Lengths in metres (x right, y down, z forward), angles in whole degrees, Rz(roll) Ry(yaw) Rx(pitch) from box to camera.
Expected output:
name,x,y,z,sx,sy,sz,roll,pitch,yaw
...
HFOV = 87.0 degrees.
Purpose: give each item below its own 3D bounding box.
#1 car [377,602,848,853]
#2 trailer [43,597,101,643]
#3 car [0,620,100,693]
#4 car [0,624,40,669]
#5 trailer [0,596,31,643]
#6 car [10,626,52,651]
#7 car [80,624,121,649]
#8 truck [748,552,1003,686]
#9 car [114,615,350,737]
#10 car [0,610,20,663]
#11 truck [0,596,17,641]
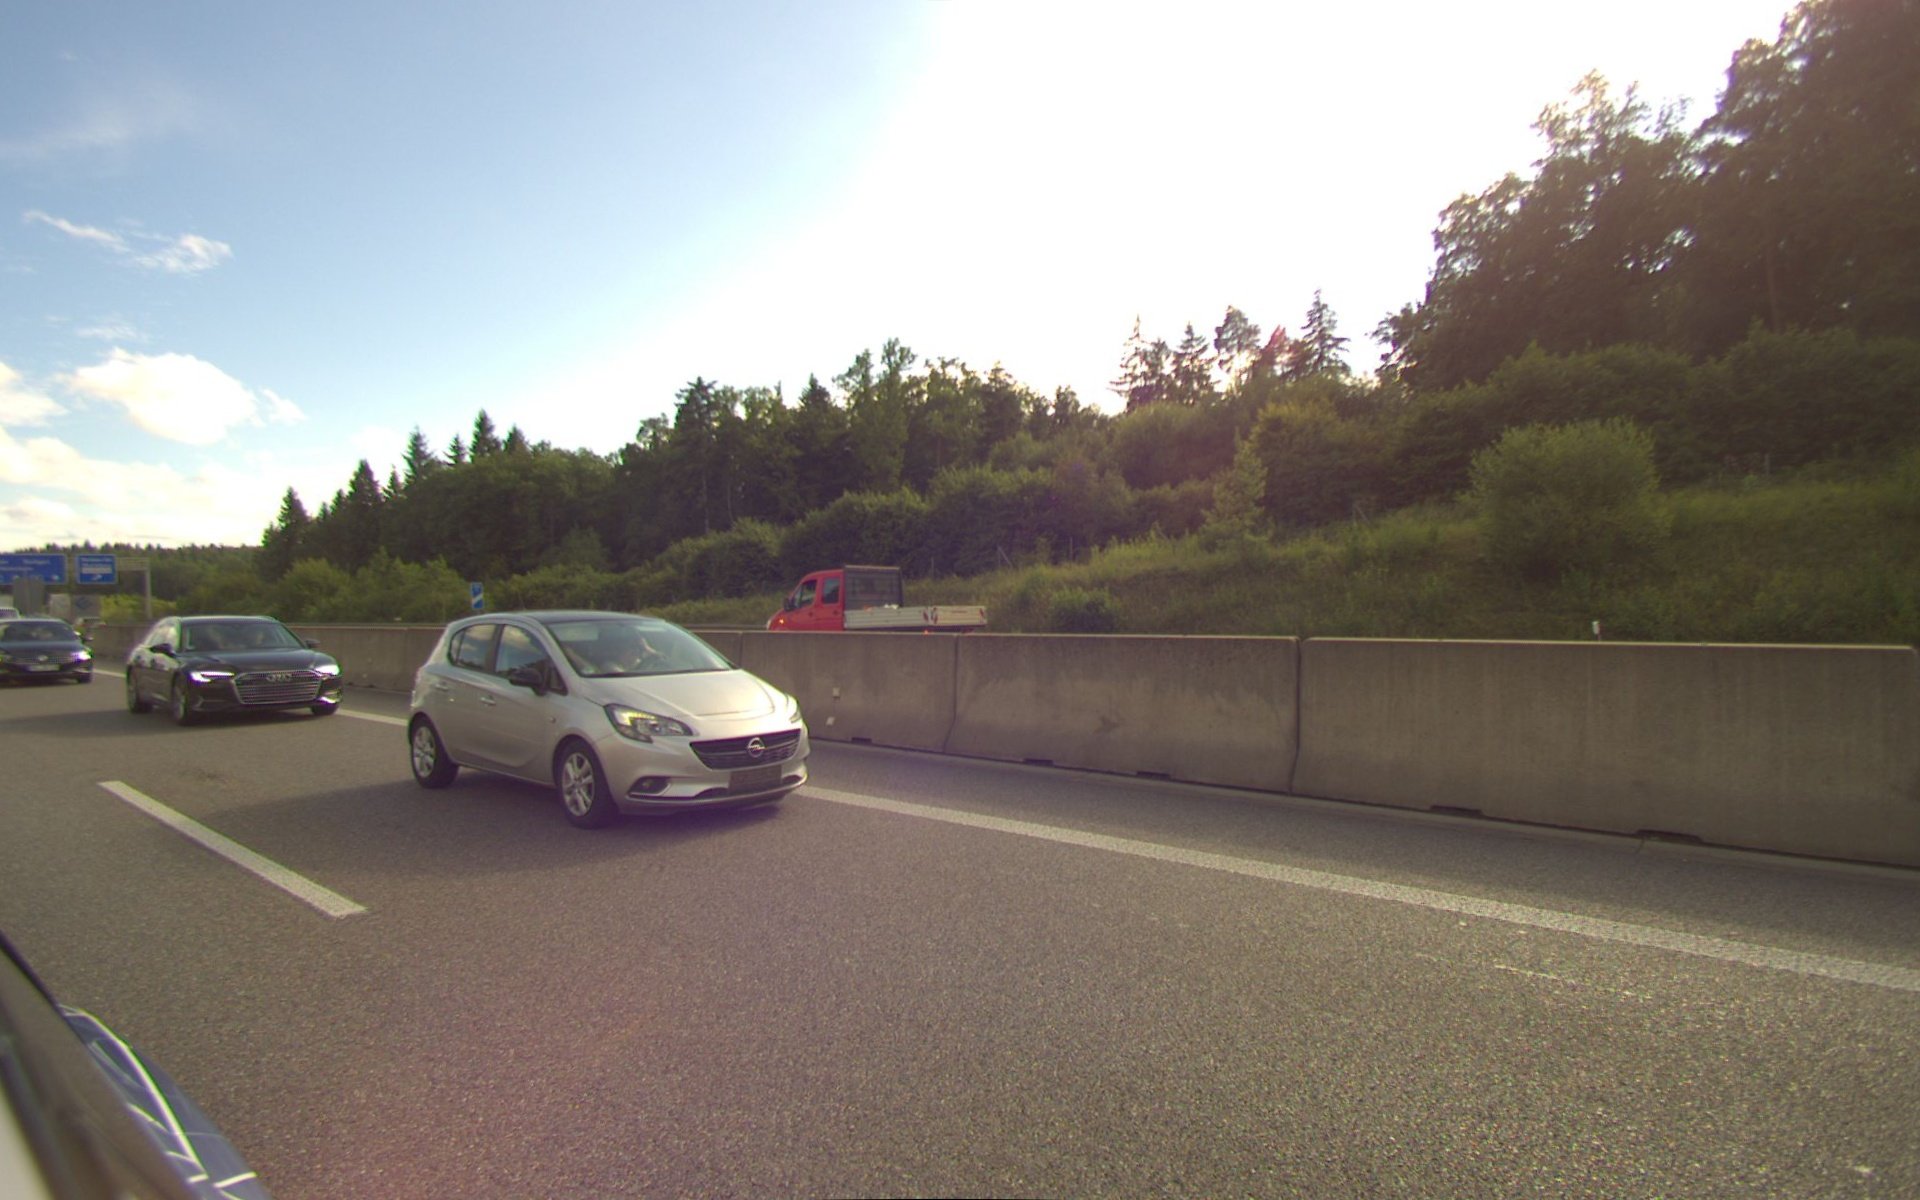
name,x,y,z,sx,sy,sz,roll,pitch,yaw
car,-2.892,0.801,7.959,4.039,1.477,1.729,-2,-2,41
trailer,-99.823,2.171,113.611,14.645,4.866,2.897,-1,0,41
car,-21.042,1.211,22.929,4.569,1.488,1.890,-1,-1,43
car,-32.618,1.550,34.249,3.992,1.442,1.786,-1,0,41
trailer,-108.053,2.148,114.205,13.825,5.112,3.057,-1,0,41
car,-71.967,2.939,78.380,4.622,1.823,1.833,-1,-1,41
car,-68.553,2.883,80.671,4.622,1.823,1.833,-1,-1,41
truck,-2.224,0.462,24.745,6.426,2.876,2.398,-1,-1,41
car,-10.871,0.996,14.959,4.851,1.483,1.862,-1,0,42
car,-37.667,1.397,38.809,4.846,1.980,1.922,-1,-1,41
truck,-112.911,2.171,118.389,7.137,5.139,3.056,-1,0,41
